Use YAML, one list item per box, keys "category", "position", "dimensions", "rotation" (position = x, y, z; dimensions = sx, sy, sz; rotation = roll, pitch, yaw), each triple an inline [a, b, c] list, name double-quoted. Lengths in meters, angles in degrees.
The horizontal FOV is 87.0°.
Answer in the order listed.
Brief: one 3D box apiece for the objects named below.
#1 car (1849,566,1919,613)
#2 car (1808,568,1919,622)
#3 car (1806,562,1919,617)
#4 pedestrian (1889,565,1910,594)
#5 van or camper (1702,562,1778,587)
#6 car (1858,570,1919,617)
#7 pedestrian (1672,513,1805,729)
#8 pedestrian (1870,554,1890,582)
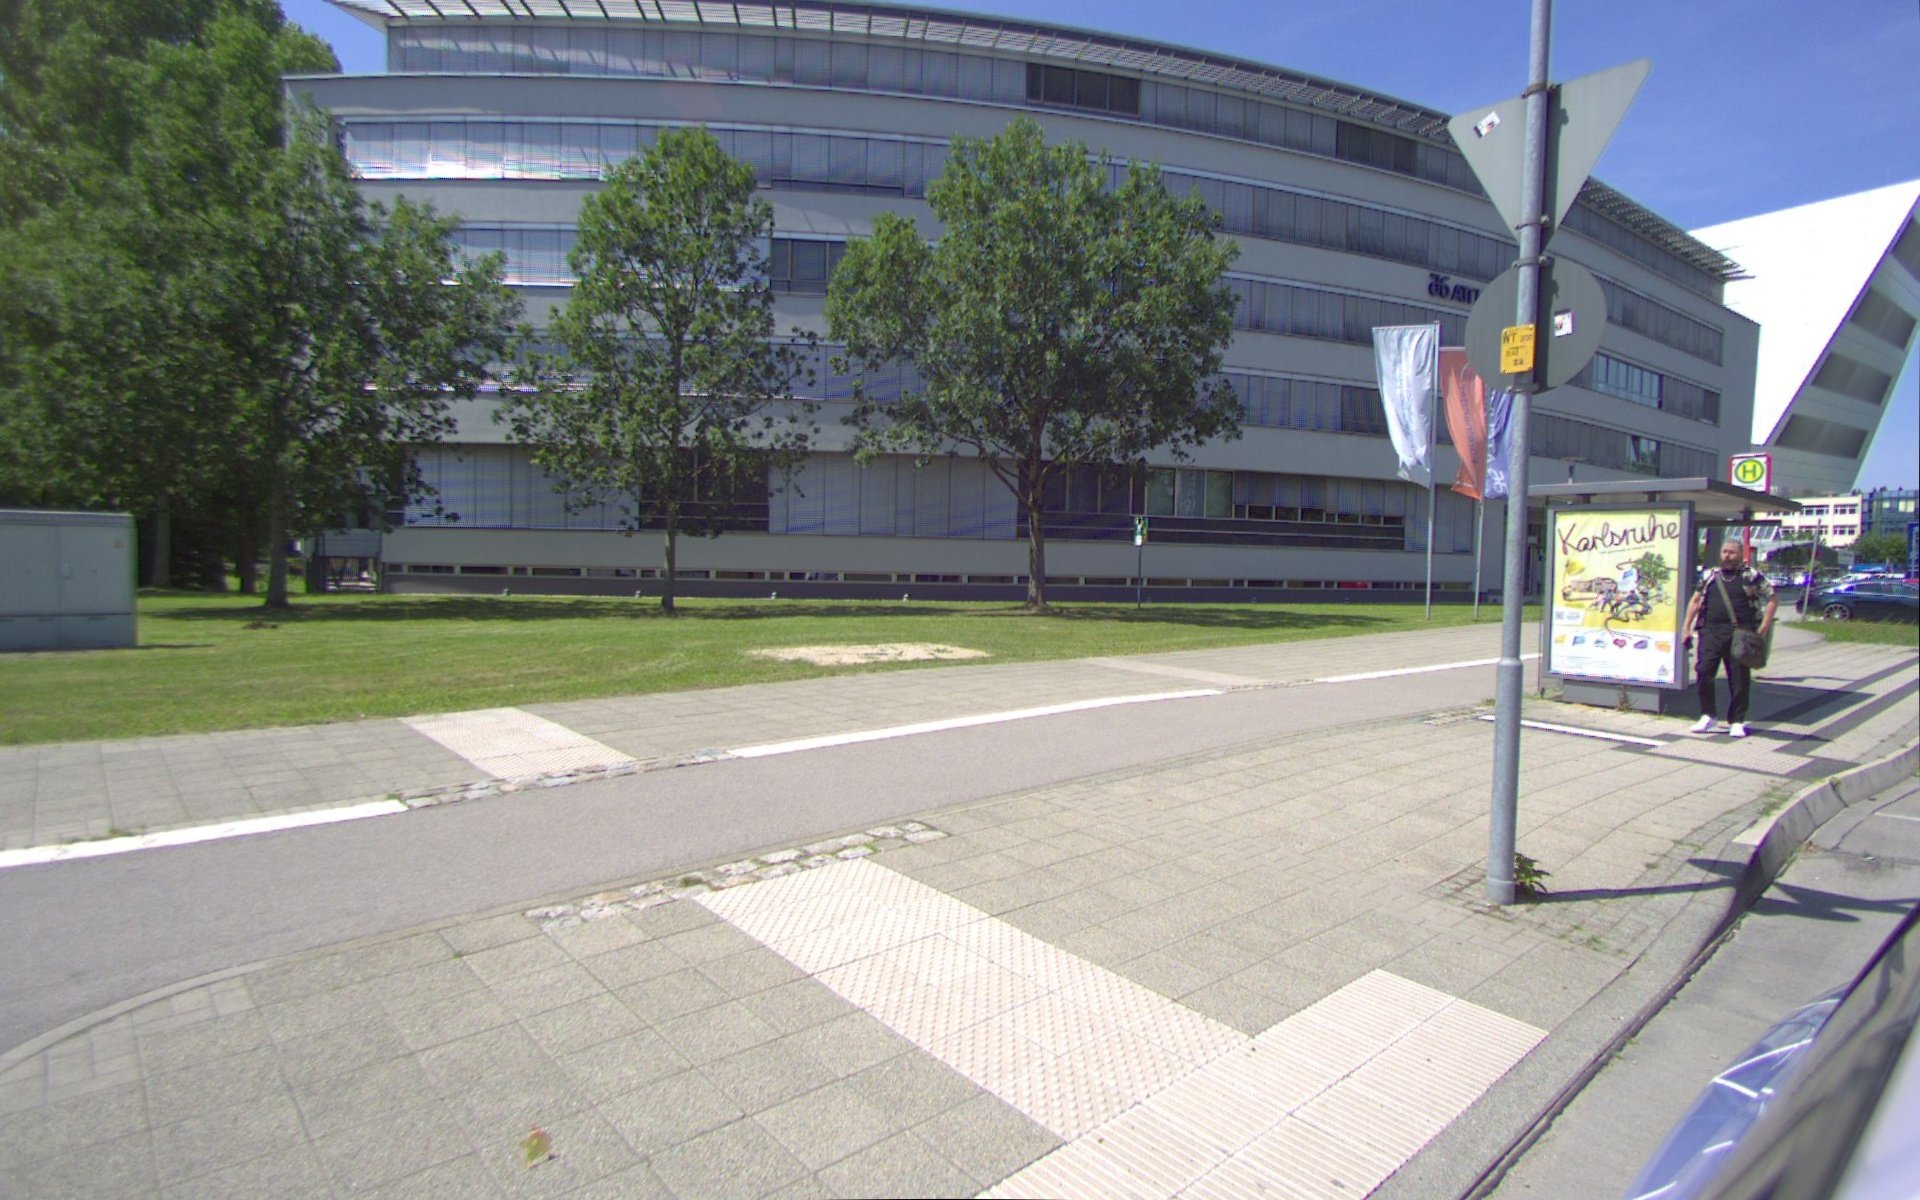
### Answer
- category: "car"
  position: [34.068, -0.322, 35.317]
  dimensions: [1.755, 1.582, 4.331]
  rotation: [-1, 4, -40]
- category: "car"
  position: [28.736, -0.124, 30.566]
  dimensions: [1.797, 1.449, 4.574]
  rotation: [-2, 5, -43]
- category: "car"
  position: [30.199, -0.369, 32.771]
  dimensions: [1.806, 1.675, 3.997]
  rotation: [-1, 3, -39]
- category: "pedestrian"
  position: [55.565, -1.200, 59.872]
  dimensions: [0.762, 1.722, 0.843]
  rotation: [-1, 1, -43]
- category: "van or camper"
  position: [77.297, -2.539, 100.393]
  dimensions: [1.671, 2.420, 5.707]
  rotation: [-1, 2, -35]
- category: "car"
  position: [32.471, -0.182, 33.531]
  dimensions: [1.626, 1.504, 3.818]
  rotation: [-1, 4, -39]
- category: "pedestrian"
  position: [7.048, 0.157, 9.171]
  dimensions: [0.812, 1.844, 0.709]
  rotation: [-1, 4, -41]
- category: "pedestrian"
  position: [54.997, -1.897, 60.506]
  dimensions: [0.762, 1.680, 0.843]
  rotation: [-1, 1, -43]
